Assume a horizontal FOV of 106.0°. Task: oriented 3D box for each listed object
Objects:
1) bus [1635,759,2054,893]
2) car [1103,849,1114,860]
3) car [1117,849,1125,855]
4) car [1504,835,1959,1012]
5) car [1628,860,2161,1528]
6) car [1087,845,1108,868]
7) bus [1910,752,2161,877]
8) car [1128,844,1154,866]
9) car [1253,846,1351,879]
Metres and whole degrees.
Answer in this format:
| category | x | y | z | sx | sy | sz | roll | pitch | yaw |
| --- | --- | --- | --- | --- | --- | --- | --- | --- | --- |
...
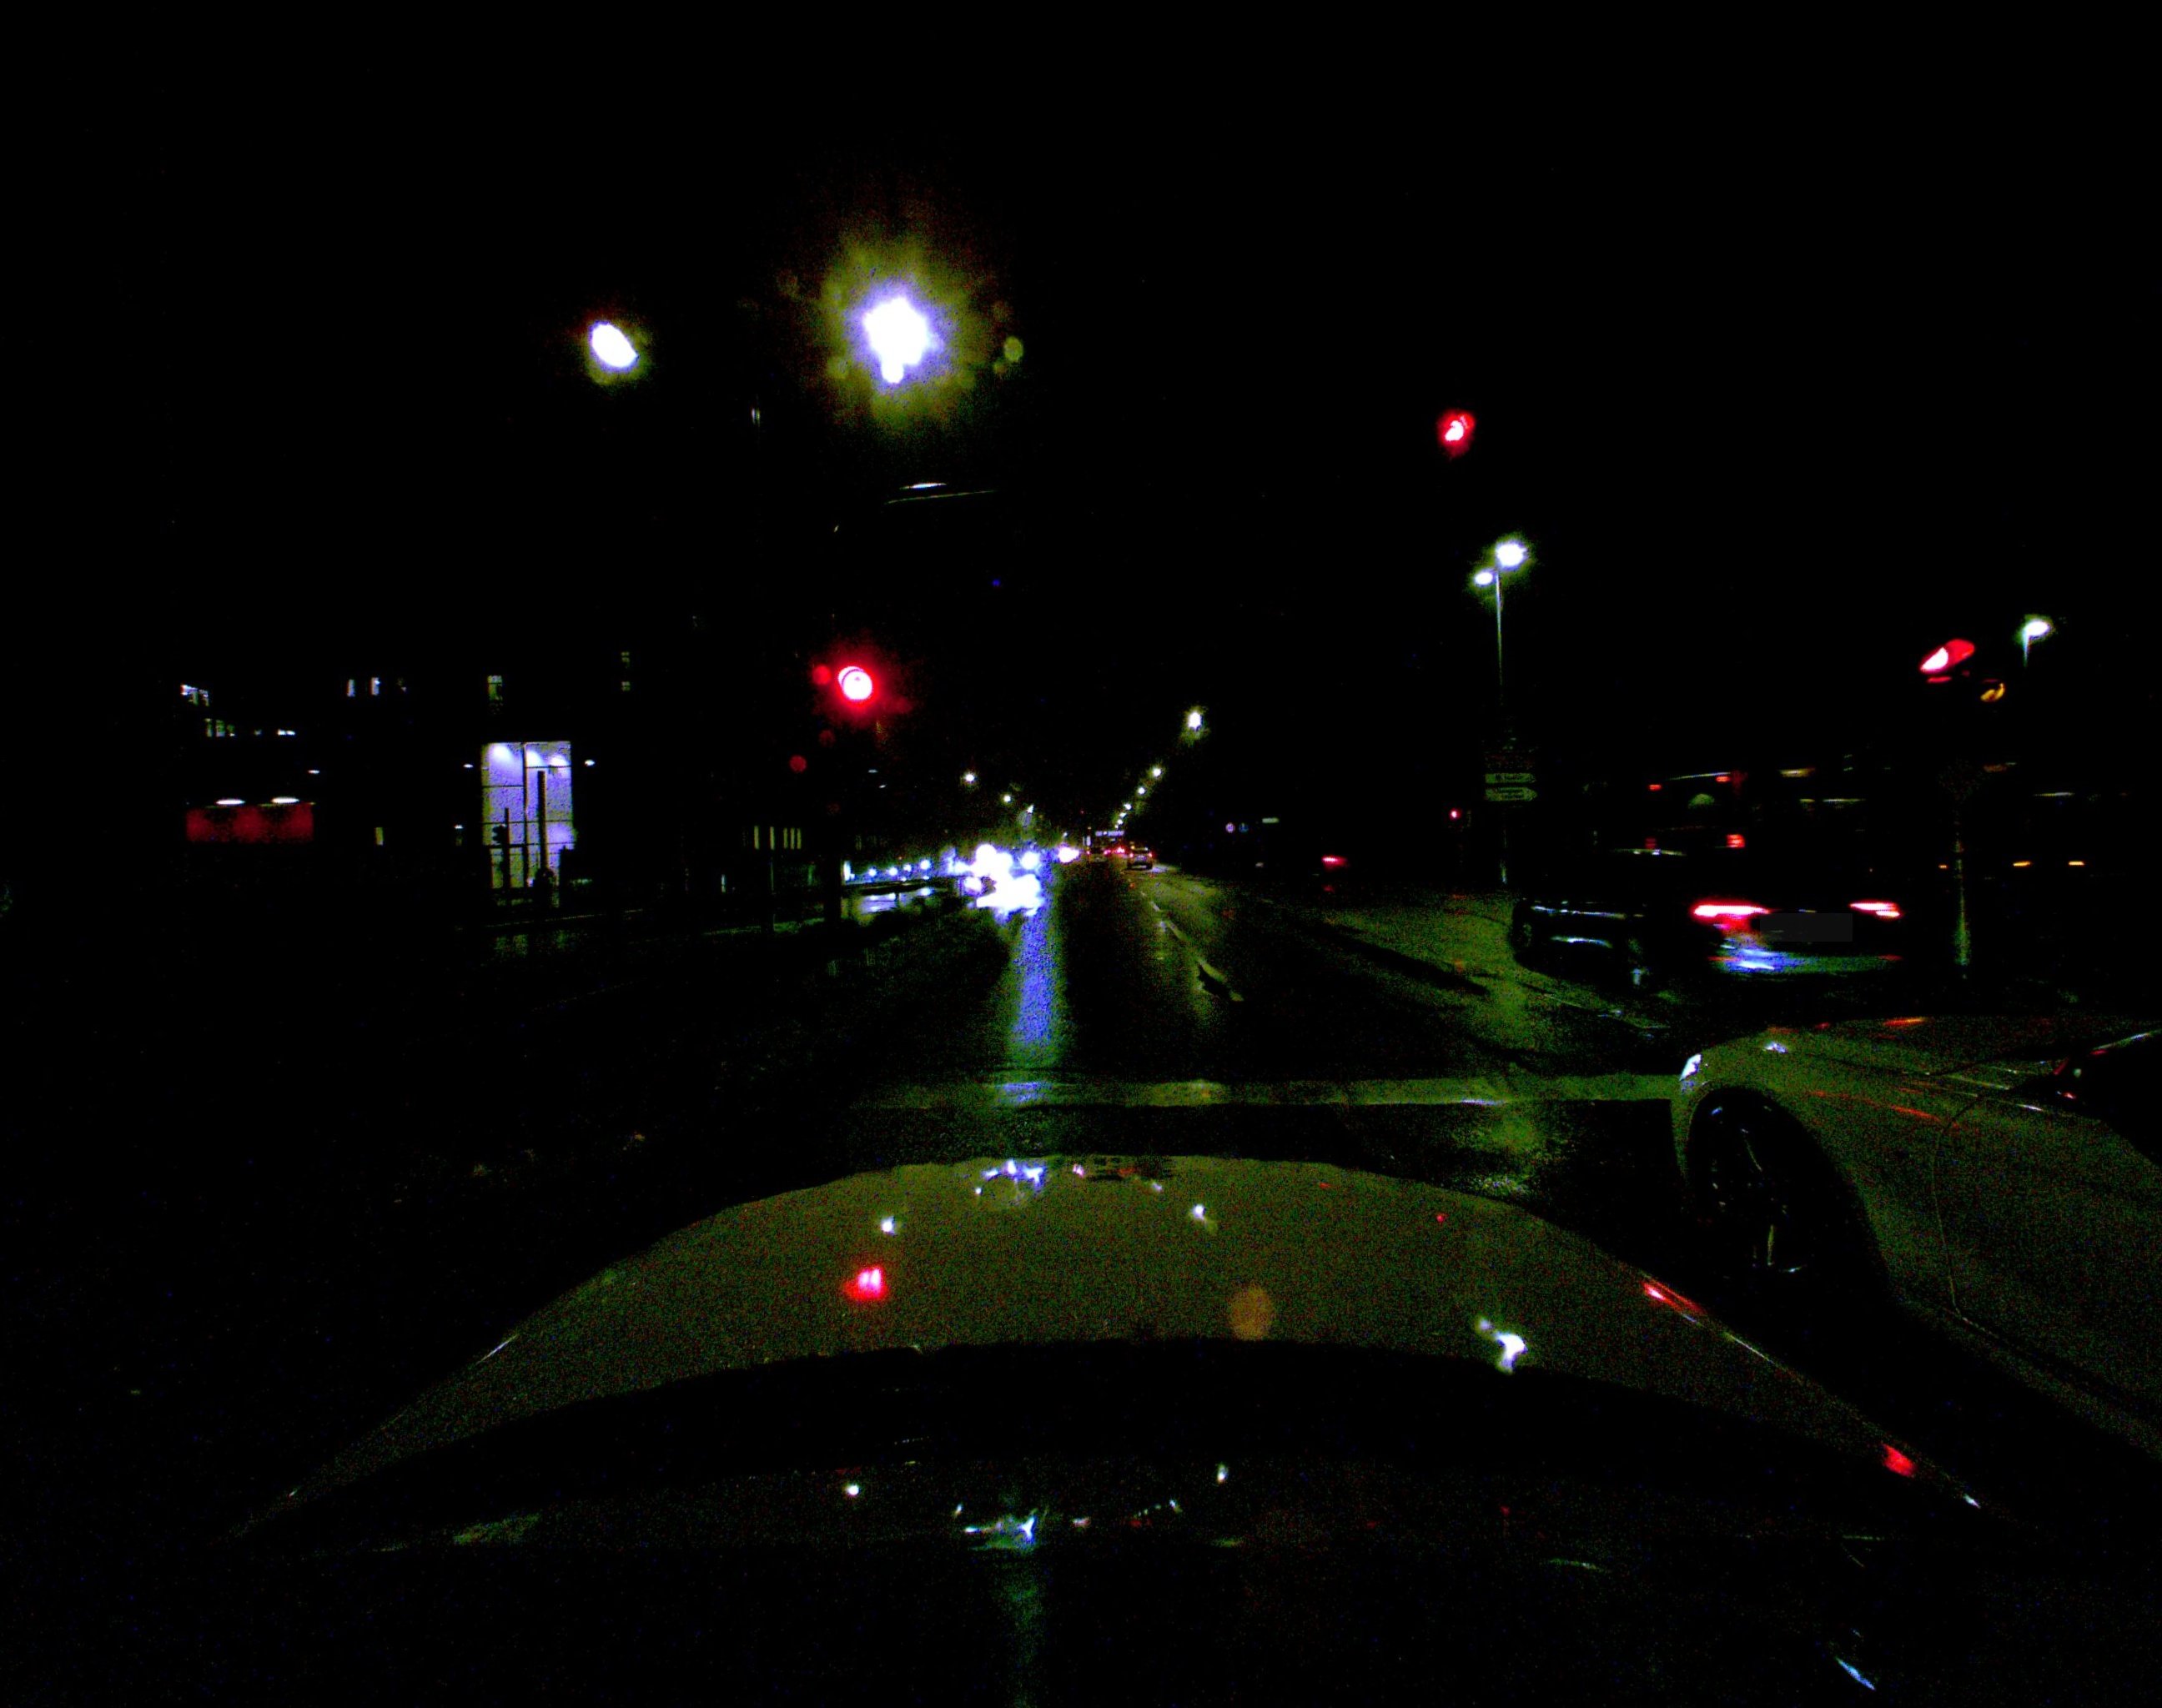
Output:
| category | x | y | z | sx | sy | sz | roll | pitch | yaw |
| --- | --- | --- | --- | --- | --- | --- | --- | --- | --- |
| bus | 19.812 | -0.695 | 21.258 | 9.732 | 3.123 | 2.768 | -1 | 0 | -11 |
| car | 4.660 | 0.041 | 140.038 | 1.784 | 1.874 | 4.628 | 0 | -1 | 1 |
| car | 10.837 | -0.534 | 220.832 | 1.986 | 1.759 | 4.001 | 0 | -1 | 2 |
| car | 6.663 | 0.600 | 9.185 | 1.828 | 1.478 | 4.637 | 0 | -1 | 6 |
| car | 3.126 | 0.718 | 1.282 | 1.710 | 1.404 | 4.351 | 0 | -1 | 2 |
| car | 1.421 | 0.196 | 69.871 | 1.784 | 1.874 | 4.628 | 0 | -1 | 1 |
| bus | 28.486 | -1.024 | 21.800 | 9.694 | 3.123 | 2.779 | 0 | 0 | 1 |
| car | 4.680 | 0.079 | 63.943 | 1.785 | 1.679 | 4.428 | 0 | -1 | 0 |
| car | 10.435 | 0.399 | 38.555 | 4.100 | 1.487 | 1.808 | -1 | -1 | 37 |
